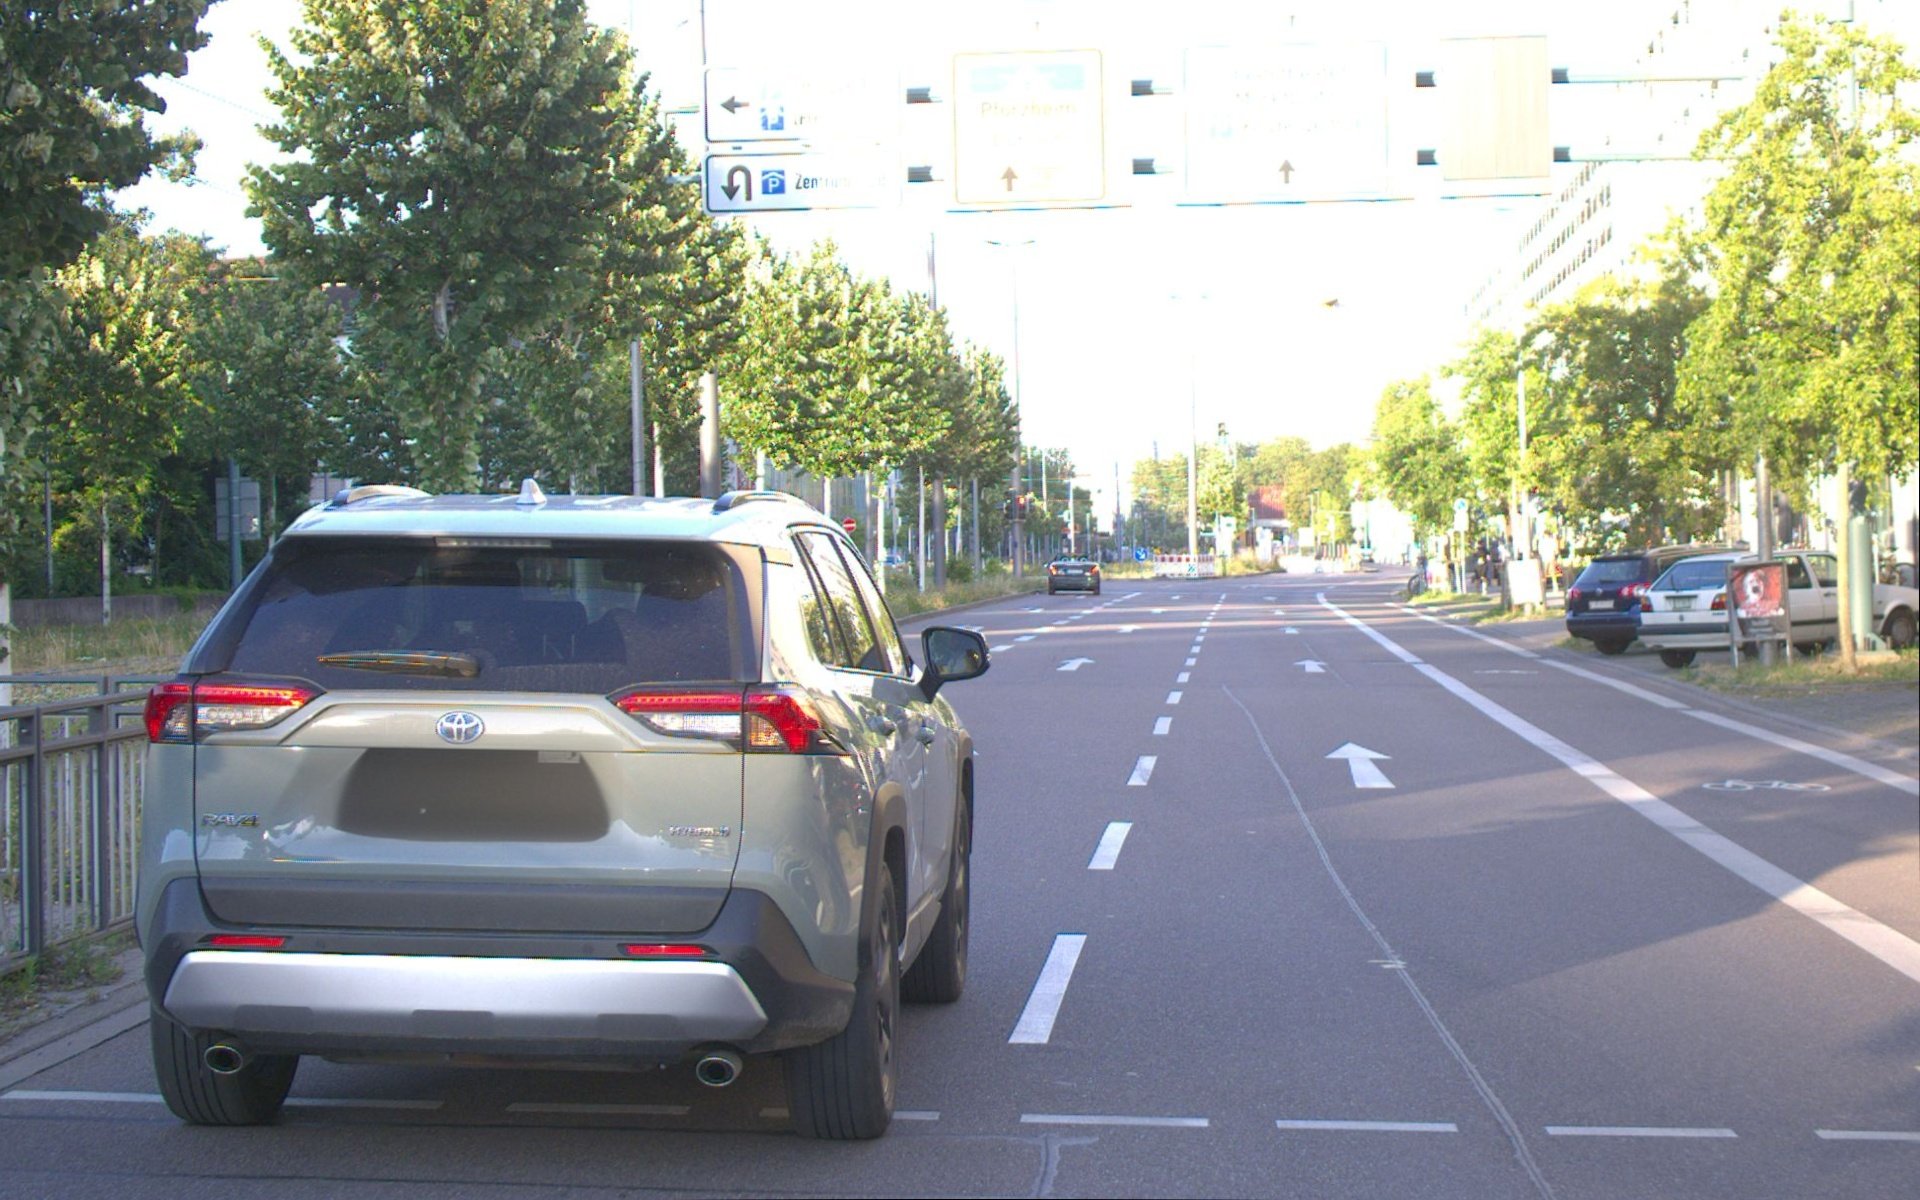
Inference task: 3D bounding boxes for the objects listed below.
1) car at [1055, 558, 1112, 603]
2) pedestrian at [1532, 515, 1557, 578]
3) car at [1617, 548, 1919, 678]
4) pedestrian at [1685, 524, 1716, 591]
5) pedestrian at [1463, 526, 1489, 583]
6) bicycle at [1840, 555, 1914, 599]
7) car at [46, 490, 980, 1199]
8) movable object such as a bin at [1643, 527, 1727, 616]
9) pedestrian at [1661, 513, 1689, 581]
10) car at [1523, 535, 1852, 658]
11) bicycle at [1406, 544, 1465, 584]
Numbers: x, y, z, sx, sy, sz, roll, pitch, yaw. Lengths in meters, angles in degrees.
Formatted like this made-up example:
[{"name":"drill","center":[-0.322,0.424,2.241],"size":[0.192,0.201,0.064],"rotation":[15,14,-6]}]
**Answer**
[{"name":"car","center":[4.029,-0.645,111.443],"size":[1.674,1.347,4.000],"rotation":[0,1,5]},{"name":"pedestrian","center":[16.821,-1.535,98.911],"size":[0.576,1.780,0.828],"rotation":[-3,-1,12]},{"name":"car","center":[10.419,0.148,43.501],"size":[3.978,1.412,1.751],"rotation":[-4,1,-33]},{"name":"pedestrian","center":[18.371,-1.058,85.255],"size":[0.576,1.613,0.643],"rotation":[-3,1,2]},{"name":"pedestrian","center":[15.677,-1.392,104.400],"size":[0.653,1.696,0.689],"rotation":[-3,1,5]},{"name":"bicycle","center":[19.206,-0.478,72.053],"size":[1.421,0.888,0.457],"rotation":[-1,1,4]},{"name":"car","center":[-1.010,0.568,9.921],"size":[1.834,1.667,4.282],"rotation":[0,0,4]},{"name":"movable object such as a bin","center":[11.584,-0.466,54.967],"size":[1.014,1.342,1.161],"rotation":[-4,1,0]},{"name":"pedestrian","center":[19.549,-1.443,93.965],"size":[0.619,1.805,0.776],"rotation":[-4,0,14]},{"name":"car","center":[10.589,-0.062,49.897],"size":[4.655,1.503,1.939],"rotation":[-4,1,-35]},{"name":"bicycle","center":[15.329,-1.178,110.858],"size":[1.793,1.189,0.568],"rotation":[-3,1,0]}]
